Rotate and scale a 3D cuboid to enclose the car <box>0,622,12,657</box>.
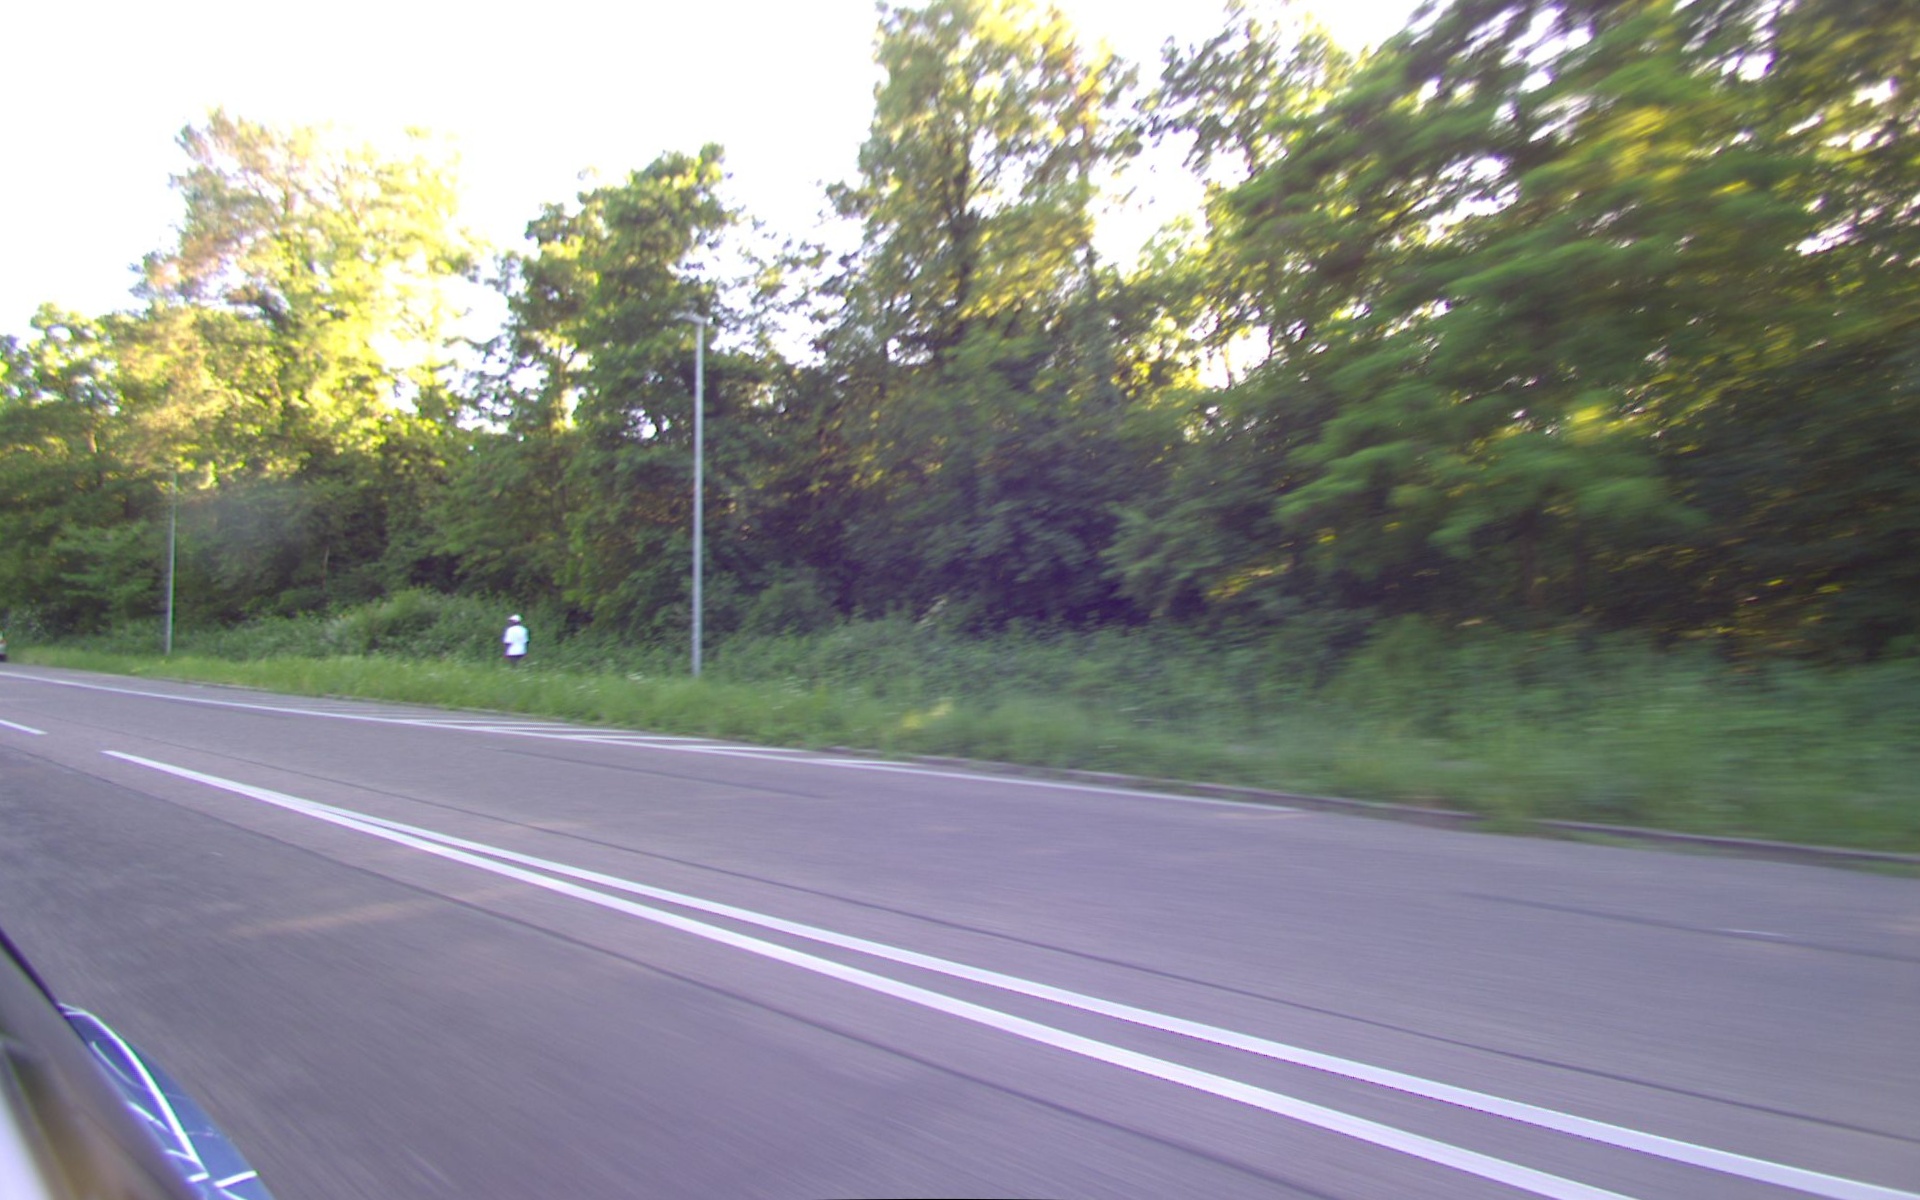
[{"bbox_3d":[-41.709,1.613,42.567,4.004,1.475,1.892,0,-3,36],"label":"car"}]

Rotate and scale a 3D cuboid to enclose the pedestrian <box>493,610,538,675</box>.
[{"bbox_3d":[-11.037,1.056,25.129,0.825,1.577,0.704,-1,-3,40],"label":"pedestrian"}]
